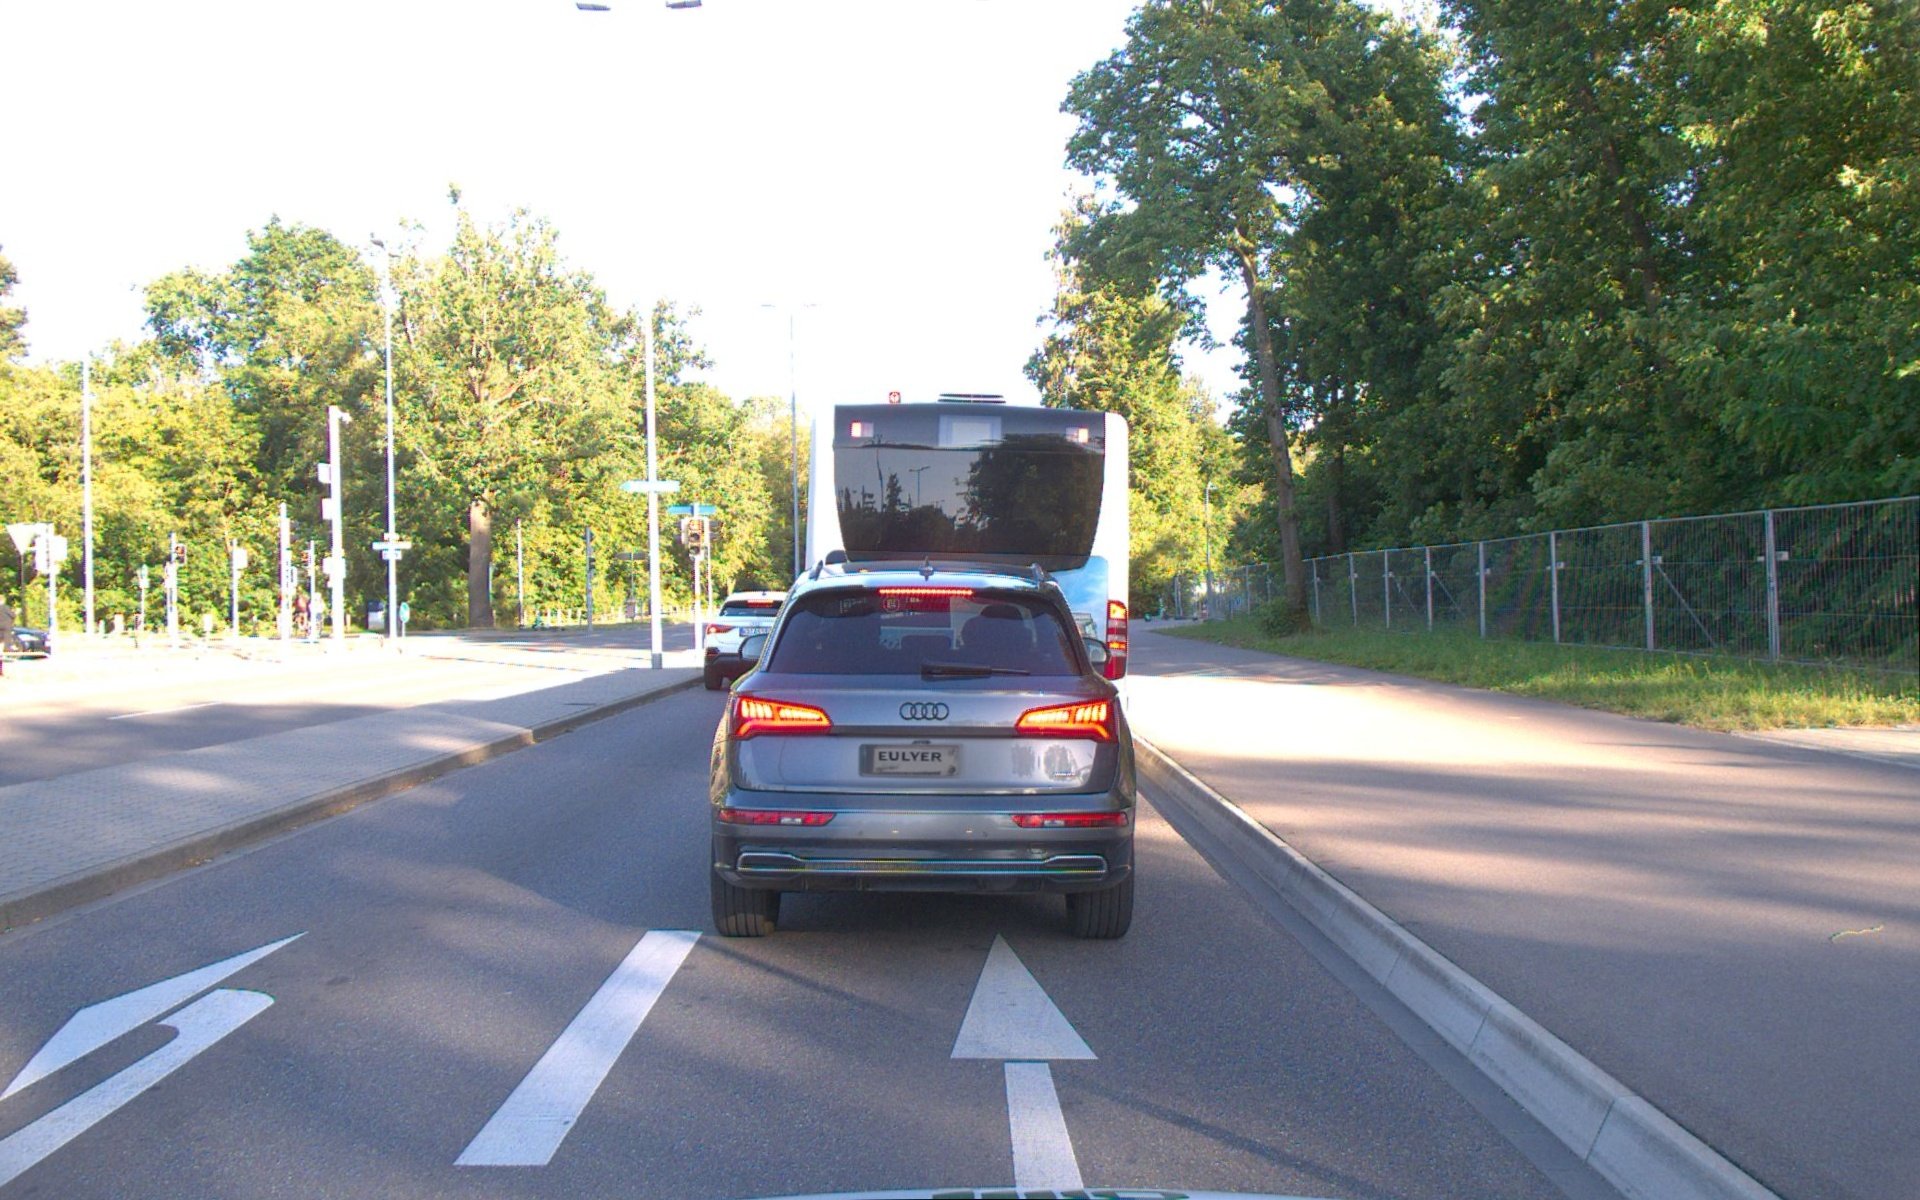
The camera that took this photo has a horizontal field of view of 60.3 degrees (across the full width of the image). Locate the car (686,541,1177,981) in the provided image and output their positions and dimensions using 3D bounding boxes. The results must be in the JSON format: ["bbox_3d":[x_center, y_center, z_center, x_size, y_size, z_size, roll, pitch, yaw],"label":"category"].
[{"bbox_3d":[-0.134,0.610,8.308,1.860,1.660,3.999,1,0,-1],"label":"car"}]

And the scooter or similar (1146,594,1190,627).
[{"bbox_3d":[9.815,0.492,78.005,1.991,1.469,0.601,-2,0,-26],"label":"scooter or similar"}]

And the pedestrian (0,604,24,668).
[{"bbox_3d":[-24.124,0.900,41.844,0.643,1.587,0.531,-1,0,-43],"label":"pedestrian"}]

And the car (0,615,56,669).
[{"bbox_3d":[-27.356,1.175,45.528,4.016,1.411,1.753,-1,0,4],"label":"car"}]

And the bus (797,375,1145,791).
[{"bbox_3d":[0.021,-0.095,16.812,2.542,3.041,9.324,0,0,-1],"label":"bus"}]

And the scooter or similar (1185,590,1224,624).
[{"bbox_3d":[11.708,0.332,79.330,0.535,1.594,1.993,-2,0,-40],"label":"scooter or similar"}]

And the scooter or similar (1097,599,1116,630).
[{"bbox_3d":[7.149,0.681,80.720,0.498,1.469,2.020,-2,0,-6],"label":"scooter or similar"}]

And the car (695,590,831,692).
[{"bbox_3d":[-3.182,0.620,27.410,1.799,1.545,3.999,-1,0,-1],"label":"car"}]
